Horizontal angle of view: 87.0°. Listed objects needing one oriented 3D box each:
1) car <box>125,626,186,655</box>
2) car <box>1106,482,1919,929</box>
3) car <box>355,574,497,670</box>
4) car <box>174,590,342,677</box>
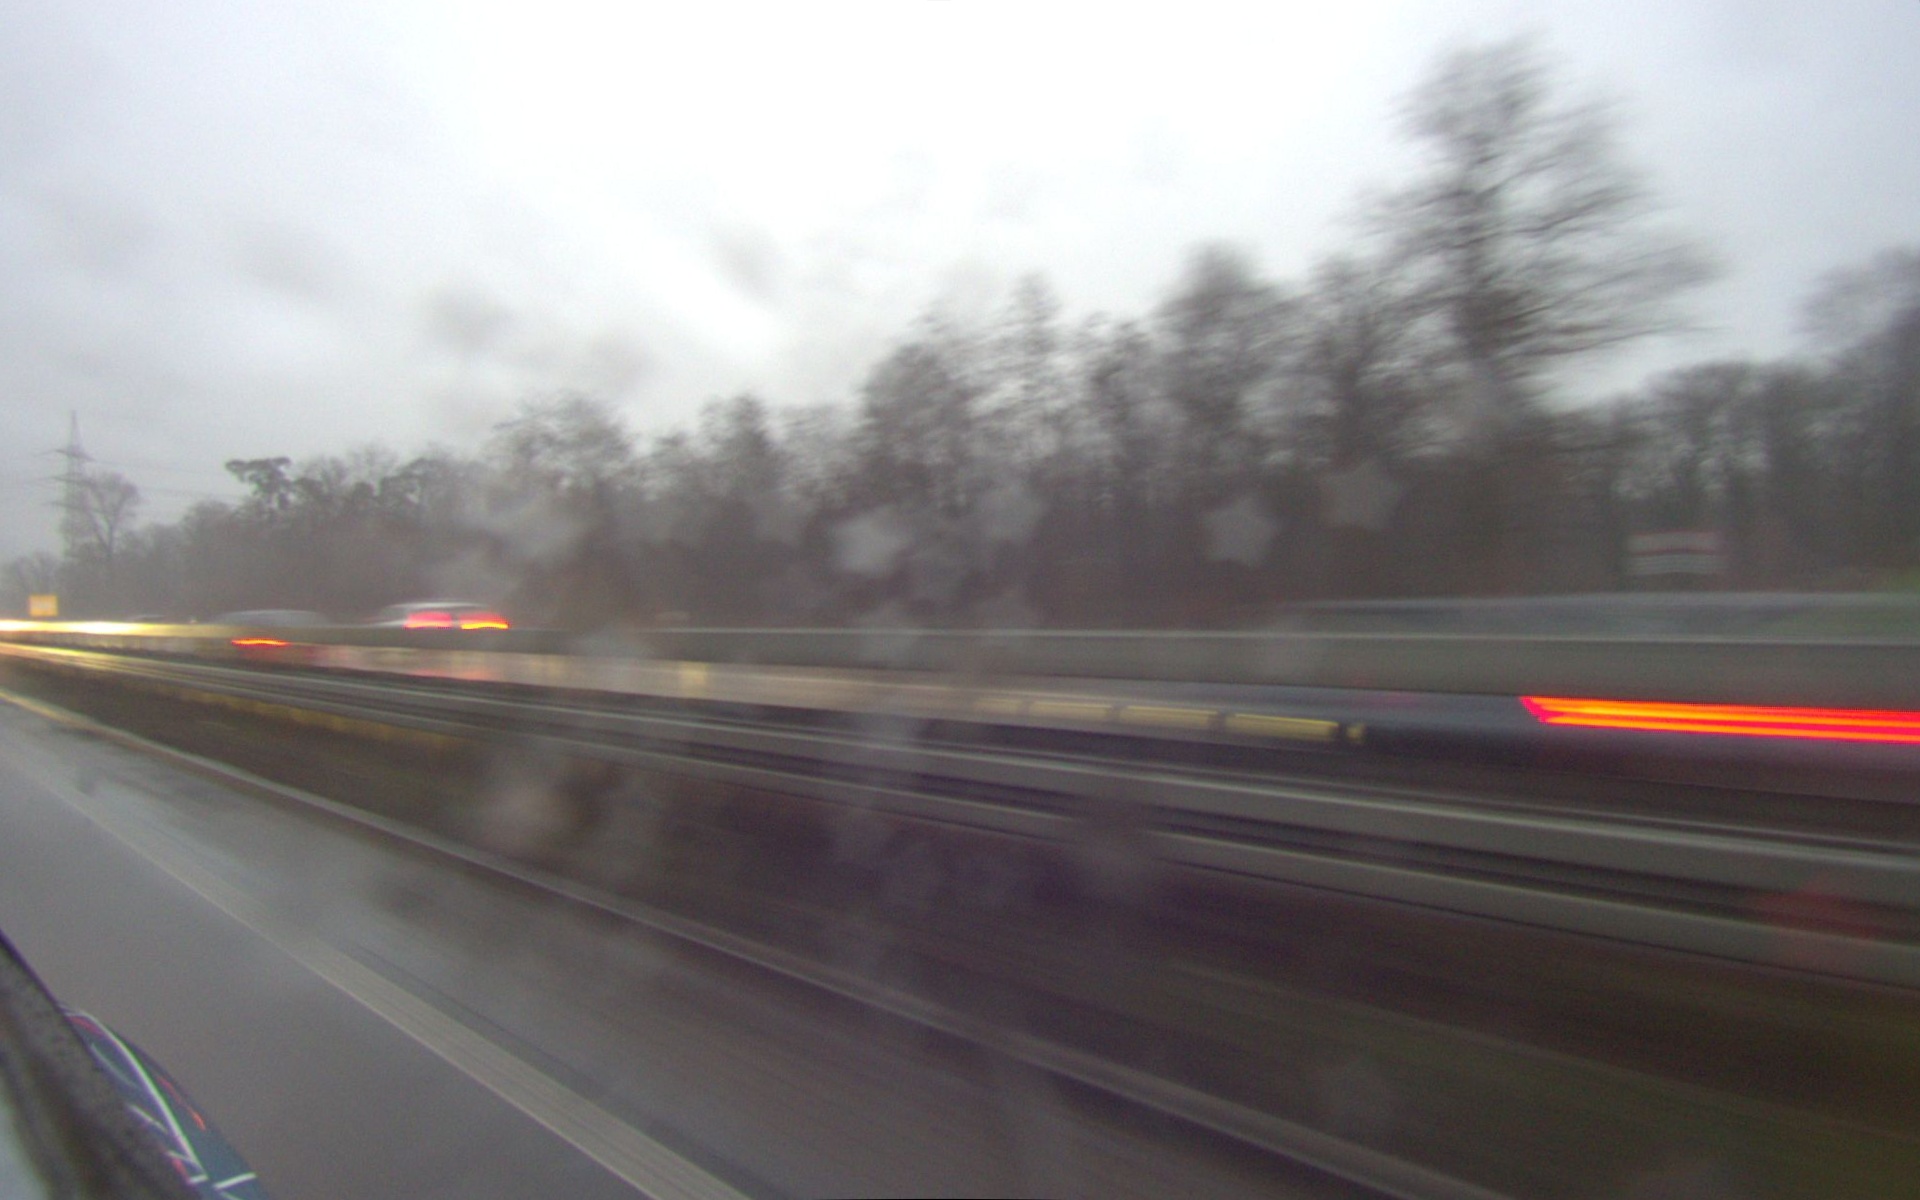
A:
[{"bbox_3d":[-42.490,2.117,53.417,4.248,1.369,1.749,-1,0,40],"label":"car"},{"bbox_3d":[3.252,0.417,5.636,4.614,1.781,1.716,-1,1,41],"label":"car"},{"bbox_3d":[-14.816,0.576,27.952,4.677,2.430,1.972,-1,0,42],"label":"car"},{"bbox_3d":[-16.105,0.732,23.083,5.365,1.729,1.972,-1,0,42],"label":"car"}]
